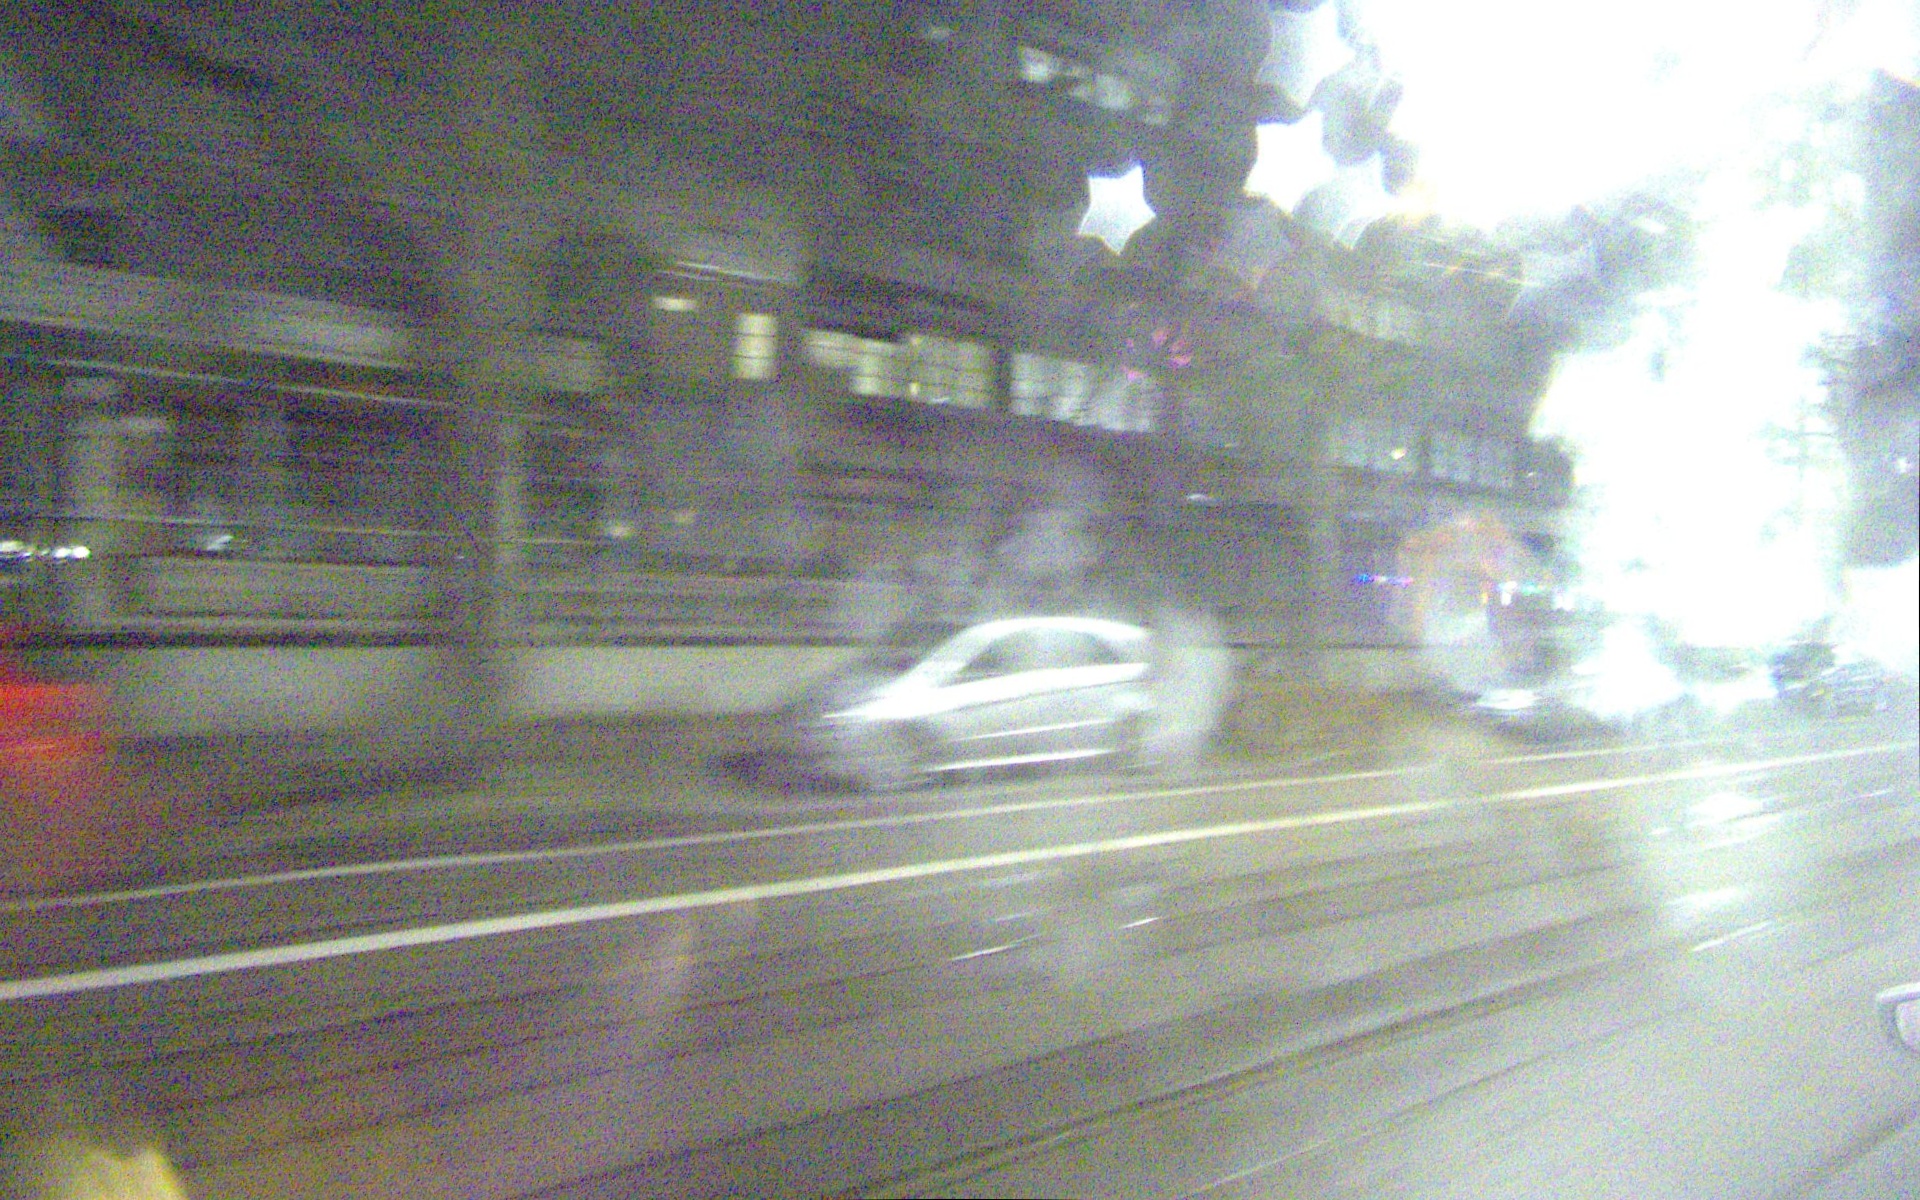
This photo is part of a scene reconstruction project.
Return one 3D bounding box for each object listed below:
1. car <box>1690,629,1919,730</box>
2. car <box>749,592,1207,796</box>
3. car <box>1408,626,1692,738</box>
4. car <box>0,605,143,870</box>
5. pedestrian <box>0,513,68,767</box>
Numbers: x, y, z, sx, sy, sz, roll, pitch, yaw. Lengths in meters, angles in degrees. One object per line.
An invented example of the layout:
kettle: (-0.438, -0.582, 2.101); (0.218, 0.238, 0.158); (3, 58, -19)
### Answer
car: (16.885, 1.520, 20.003); (4.537, 1.641, 2.132); (2, 2, -31)
car: (0.246, 0.821, 10.161); (4.302, 1.600, 1.800); (1, 2, -30)
car: (9.082, 1.194, 15.360); (4.572, 1.457, 1.723); (2, -1, -30)
car: (-7.255, 0.743, 5.617); (3.906, 1.475, 1.710); (2, -1, -31)
pedestrian: (-7.859, 0.287, 7.749); (1.276, 1.927, 0.789); (2, 0, -30)
